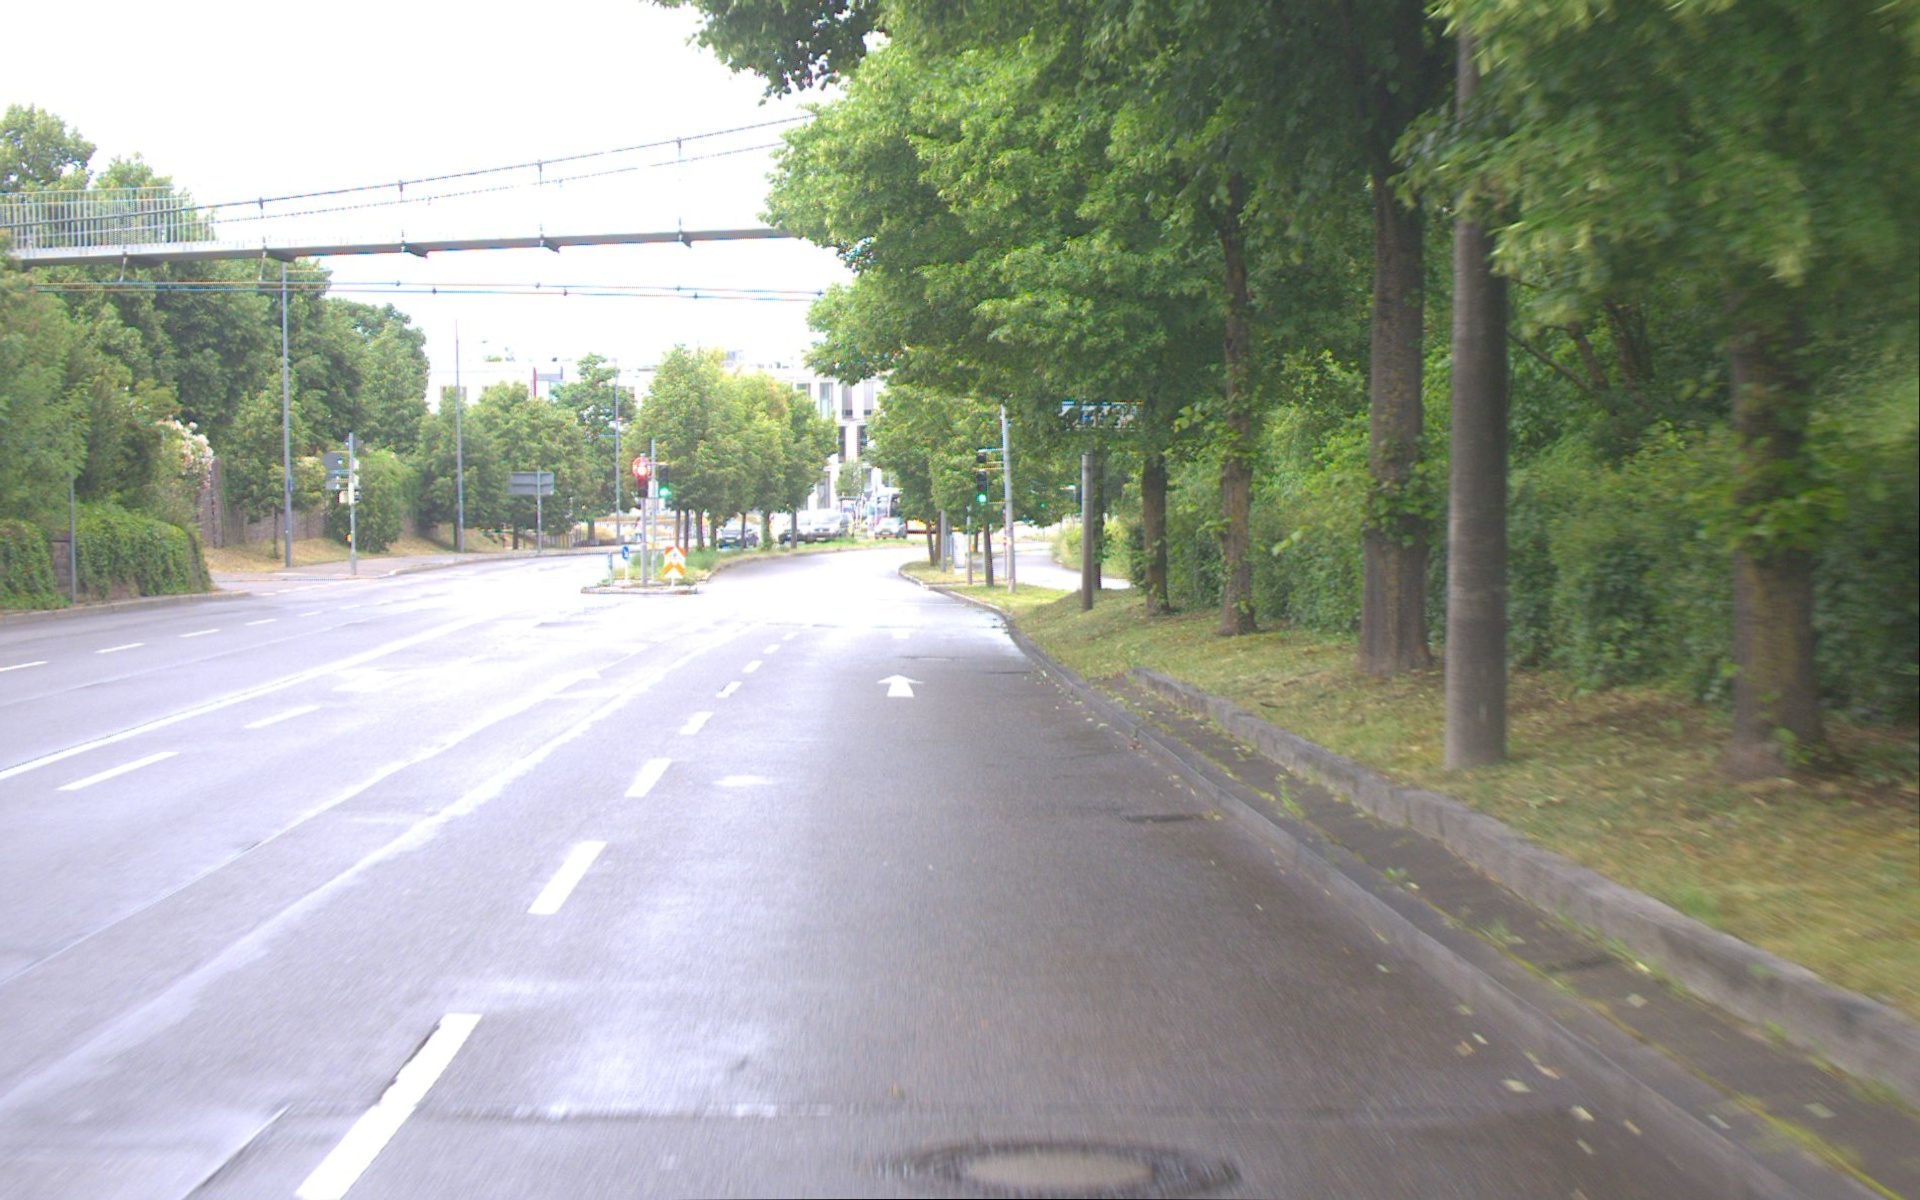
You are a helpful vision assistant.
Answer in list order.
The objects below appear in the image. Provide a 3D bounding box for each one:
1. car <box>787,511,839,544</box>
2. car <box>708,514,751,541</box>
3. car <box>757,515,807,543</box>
[{"bbox_3d":[-8.740,-4.293,204.924,2.014,1.912,5.093,1,1,10],"label":"car"},{"bbox_3d":[-13.016,-4.074,194.252,1.598,1.484,3.999,1,1,9],"label":"car"},{"bbox_3d":[-10.796,-4.310,209.078,1.882,1.589,4.764,2,1,11],"label":"car"}]
